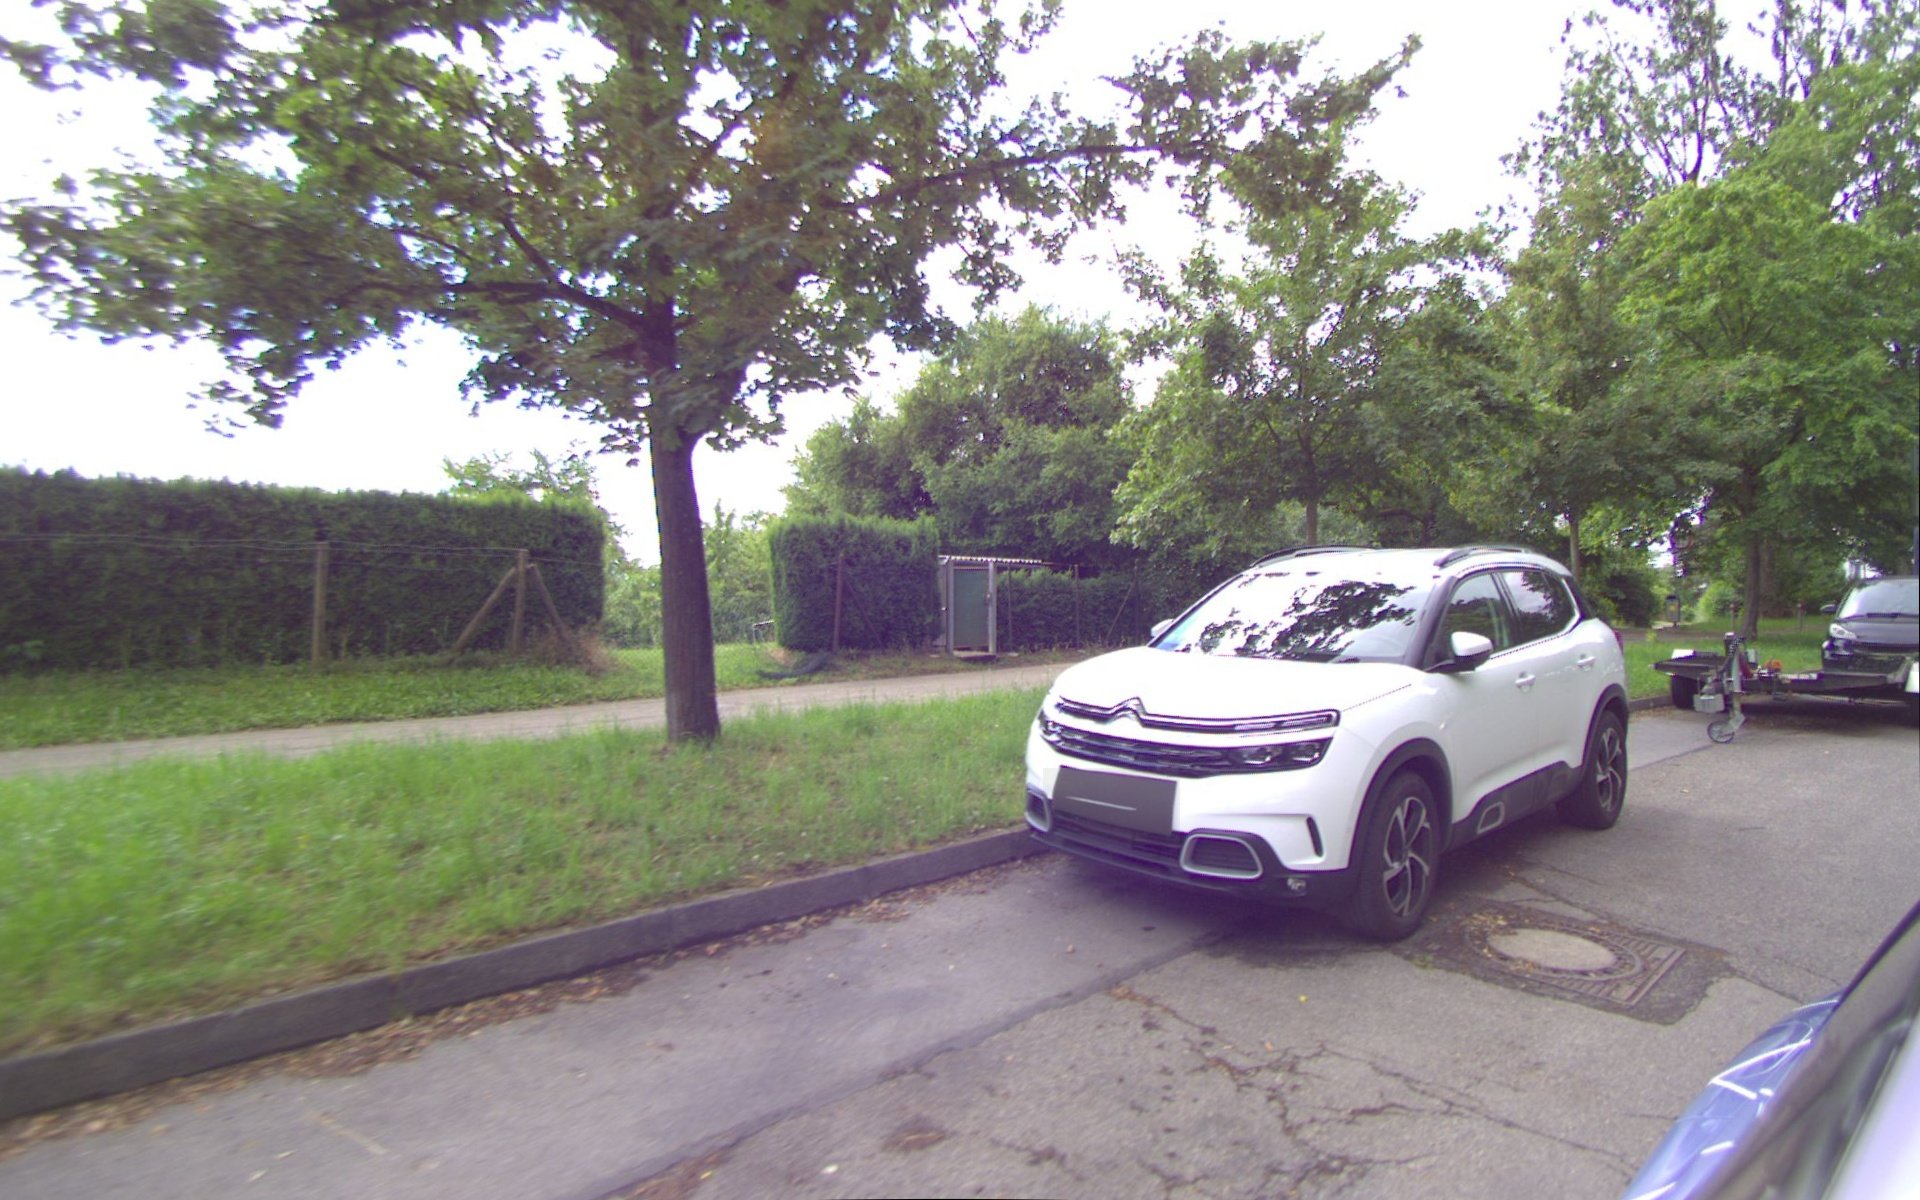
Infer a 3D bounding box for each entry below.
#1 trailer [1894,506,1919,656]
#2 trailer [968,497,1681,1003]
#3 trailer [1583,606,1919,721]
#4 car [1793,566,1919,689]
[{"bbox_3d":[17.570,-0.257,16.806,4.612,2.391,2.114,0,2,-36],"label":"trailer"},{"bbox_3d":[2.331,0.397,5.665,4.571,1.751,1.775,-3,4,-41],"label":"trailer"},{"bbox_3d":[8.956,0.512,10.667,6.287,0.659,2.109,-2,1,-39],"label":"trailer"},{"bbox_3d":[13.310,0.310,14.187,3.342,1.541,1.734,-2,1,-36],"label":"car"}]
